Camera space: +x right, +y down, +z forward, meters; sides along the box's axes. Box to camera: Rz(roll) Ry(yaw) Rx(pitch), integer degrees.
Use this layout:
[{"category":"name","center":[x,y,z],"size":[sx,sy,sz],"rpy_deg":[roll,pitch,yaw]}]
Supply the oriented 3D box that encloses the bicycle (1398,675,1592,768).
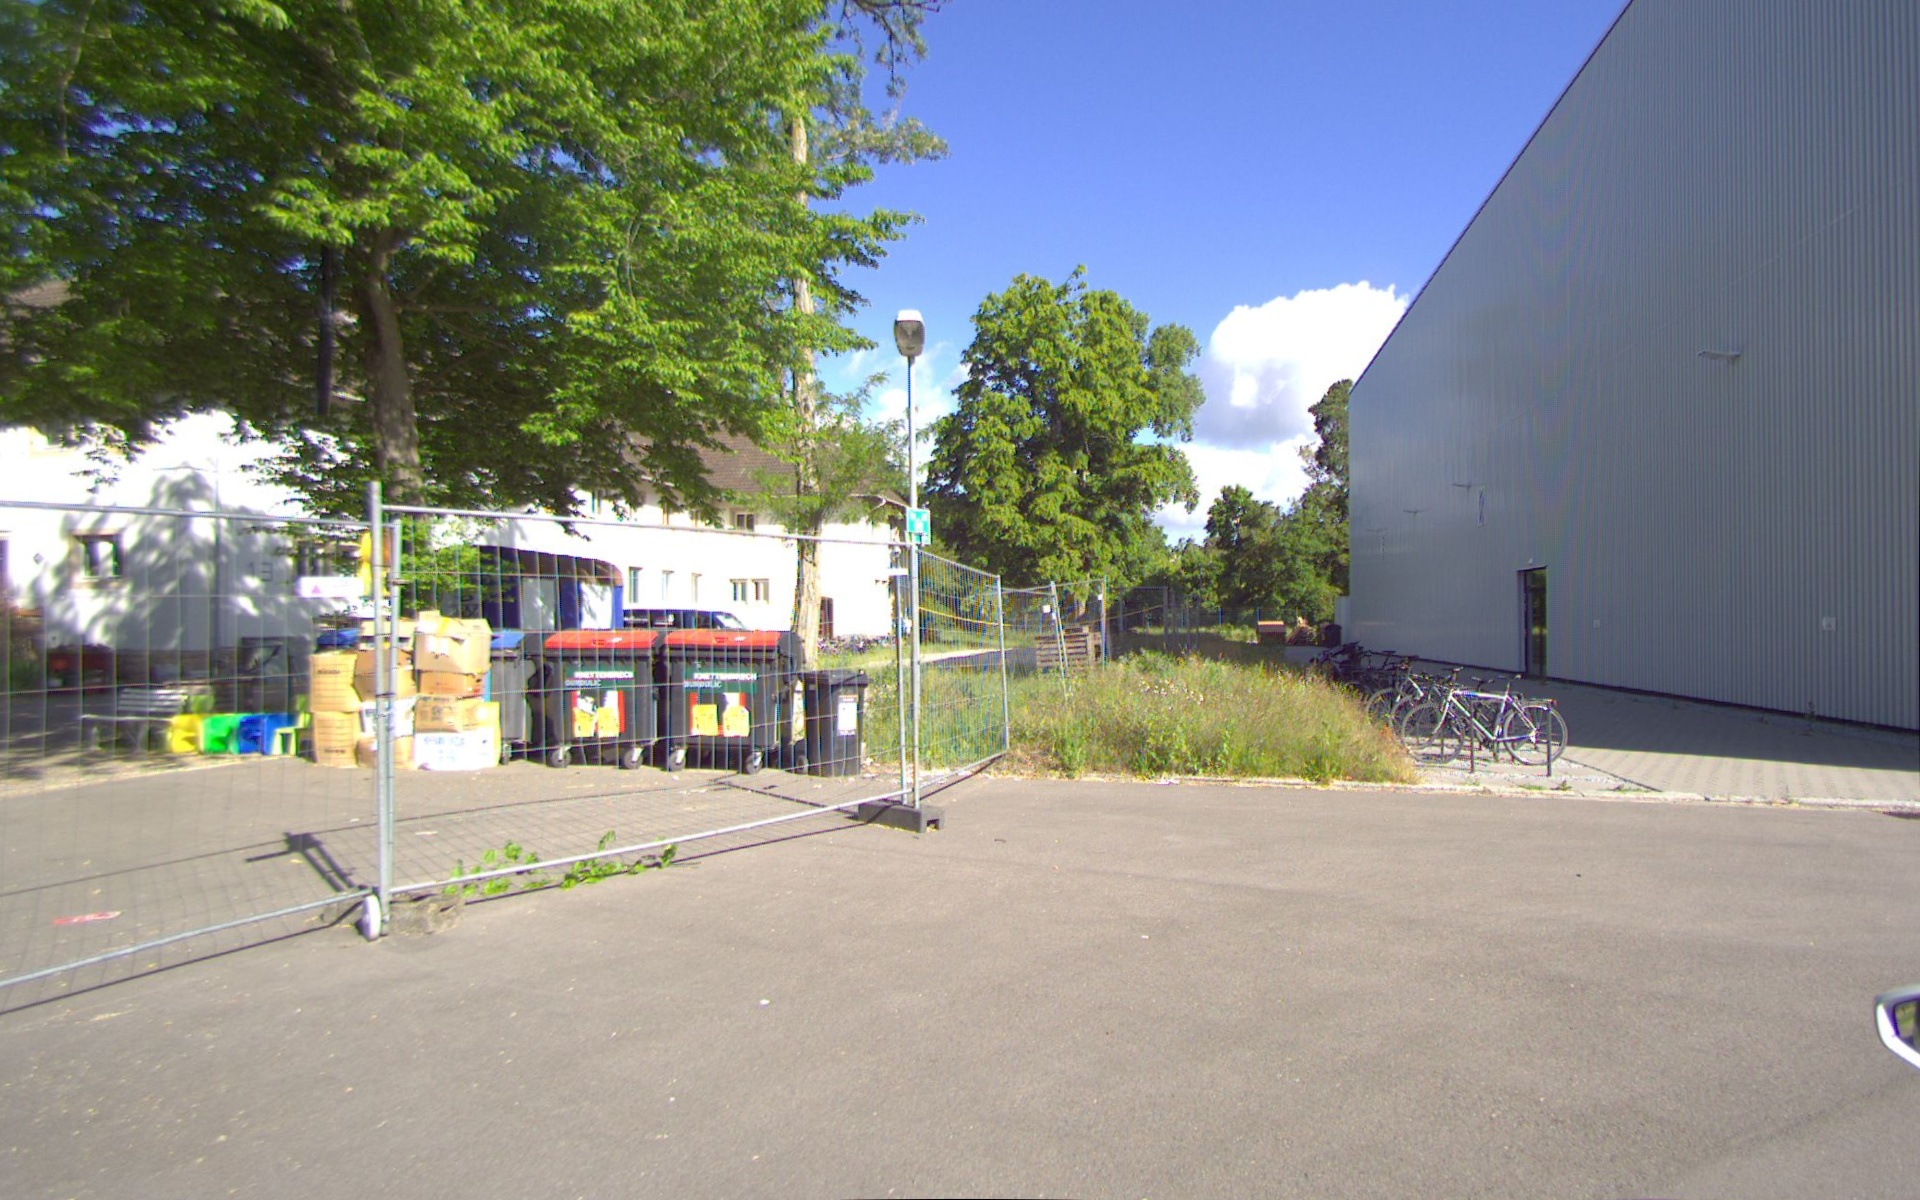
[{"category":"bicycle","center":[5.959,1.341,11.261],"size":[1.851,0.991,0.433],"rpy_deg":[-1,-1,12]}]

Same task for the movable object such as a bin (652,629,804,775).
[{"category":"movable object such as a bin","center":[-2.415,1.036,10.591],"size":[1.265,1.445,1.033],"rpy_deg":[-1,-2,8]}]

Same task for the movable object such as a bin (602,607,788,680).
[{"category":"movable object such as a bin","center":[-7.565,1.256,28.842],"size":[4.788,1.996,1.934],"rpy_deg":[-1,-2,10]}]

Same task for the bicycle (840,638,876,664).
[{"category":"bicycle","center":[-4.035,2.024,39.662],"size":[1.406,0.997,0.261],"rpy_deg":[-1,-1,11]}]

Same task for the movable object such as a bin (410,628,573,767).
[{"category":"movable object such as a bin","center":[-5.154,1.043,11.121],"size":[1.265,1.445,1.033],"rpy_deg":[-1,-2,10]}]

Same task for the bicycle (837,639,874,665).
[{"category":"bicycle","center":[-4.089,2.026,39.375],"size":[1.406,0.997,0.261],"rpy_deg":[-1,-1,11]}]

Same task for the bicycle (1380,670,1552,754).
[{"category":"bicycle","center":[6.283,1.380,12.540],"size":[1.851,0.991,0.433],"rpy_deg":[-1,-1,12]}]

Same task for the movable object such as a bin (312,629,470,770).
[{"category":"movable object such as a bin","center":[-6.206,1.047,11.007],"size":[1.065,1.457,1.056],"rpy_deg":[-1,-2,14]}]

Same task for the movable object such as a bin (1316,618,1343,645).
[{"category":"movable object such as a bin","center":[23.799,2.031,64.770],"size":[1.340,1.678,2.844],"rpy_deg":[-1,-2,14]}]

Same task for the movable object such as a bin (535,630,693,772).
[{"category":"movable object such as a bin","center":[-3.693,1.047,10.802],"size":[1.265,1.445,1.033],"rpy_deg":[-1,-2,10]}]

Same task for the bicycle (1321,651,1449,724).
[{"category":"bicycle","center":[6.877,1.417,16.325],"size":[1.851,1.141,0.433],"rpy_deg":[-1,-1,12]}]

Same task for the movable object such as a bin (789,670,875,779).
[{"category":"movable object such as a bin","center":[-1.289,1.229,10.131],"size":[0.632,1.020,0.604],"rpy_deg":[-1,-2,28]}]

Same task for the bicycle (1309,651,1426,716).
[{"category":"bicycle","center":[7.186,1.470,17.765],"size":[1.851,1.118,0.433],"rpy_deg":[-1,-1,12]}]

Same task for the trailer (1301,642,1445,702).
[{"category":"trailer","center":[8.830,1.529,21.652],"size":[2.664,1.215,1.247],"rpy_deg":[-1,-2,12]}]

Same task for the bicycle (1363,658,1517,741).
[{"category":"bicycle","center":[6.595,1.365,13.879],"size":[1.851,1.096,0.433],"rpy_deg":[-1,-1,12]}]
